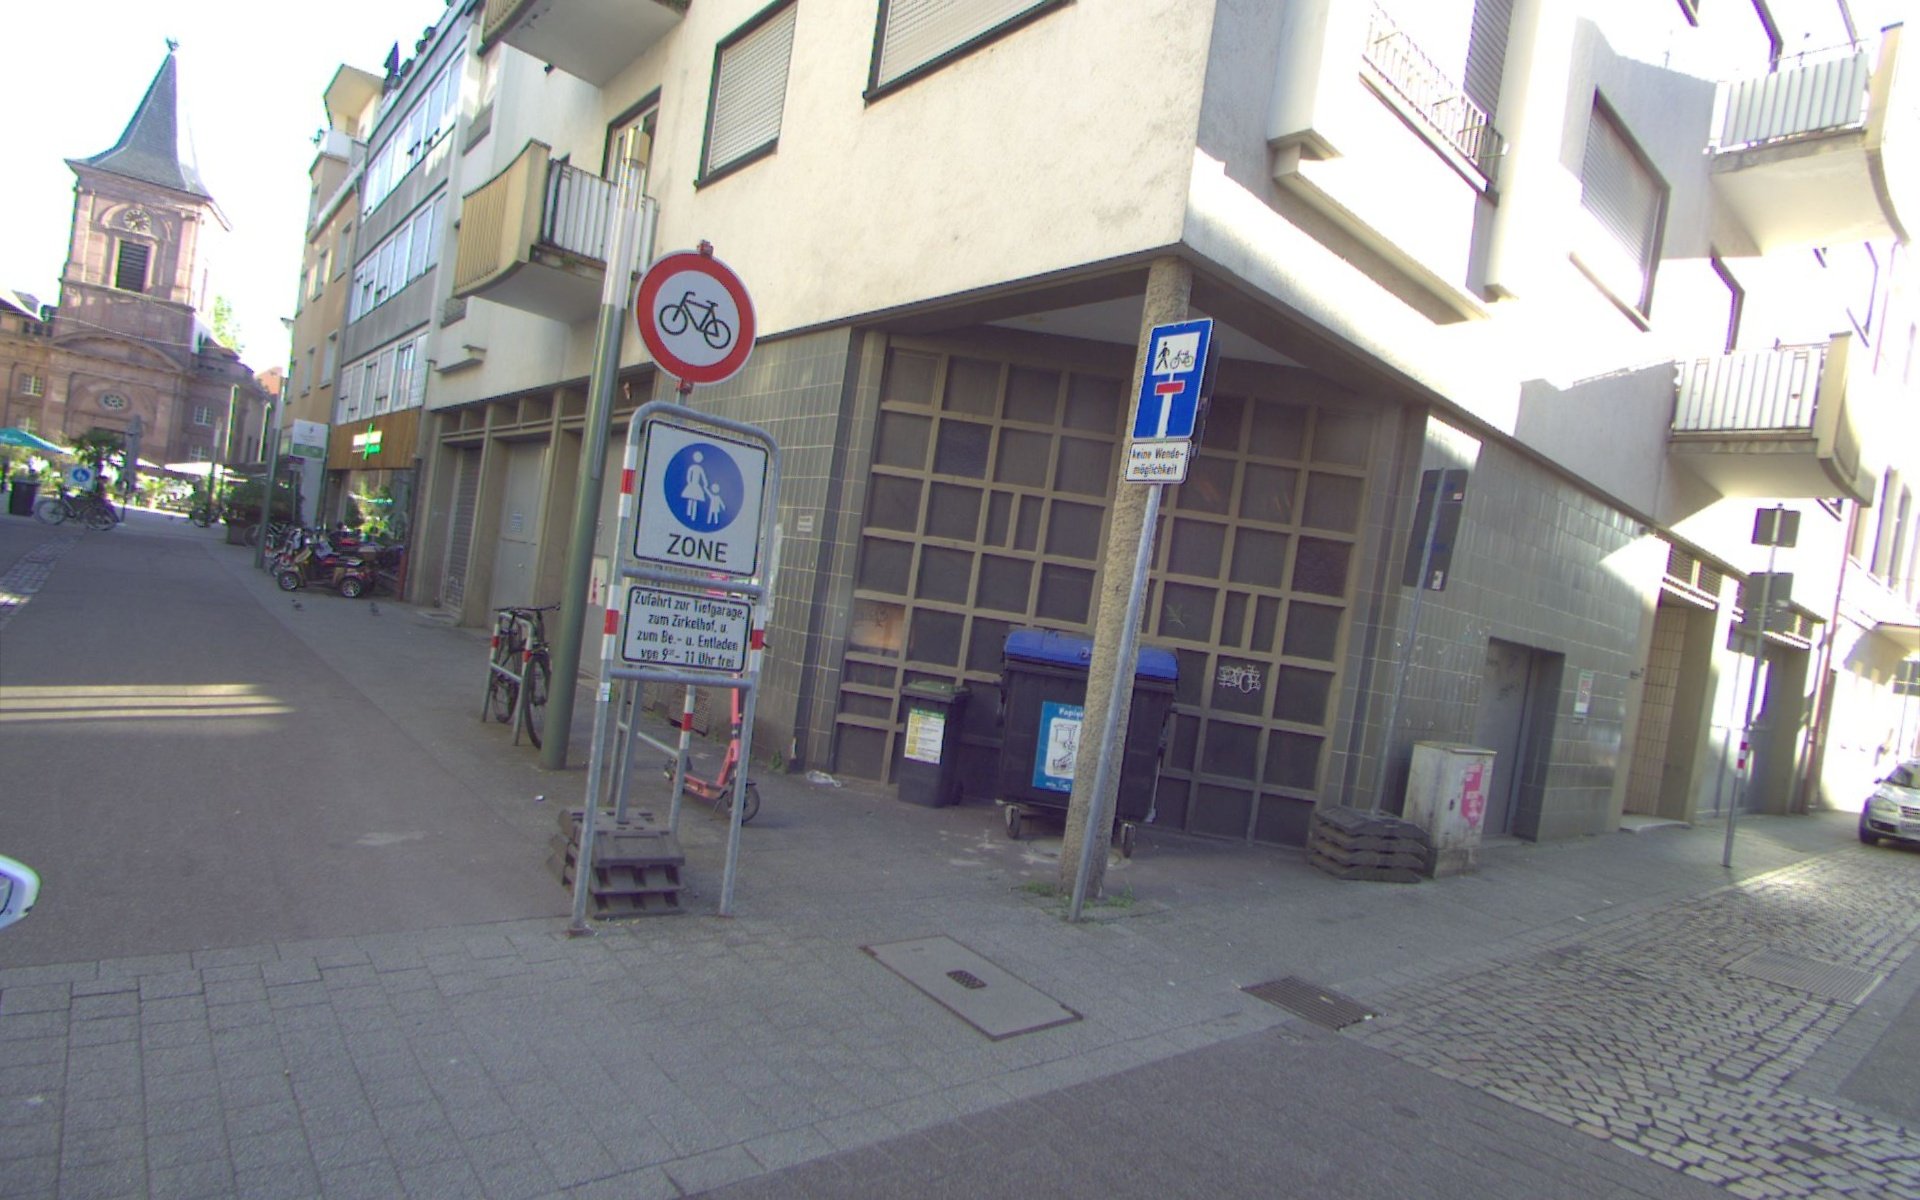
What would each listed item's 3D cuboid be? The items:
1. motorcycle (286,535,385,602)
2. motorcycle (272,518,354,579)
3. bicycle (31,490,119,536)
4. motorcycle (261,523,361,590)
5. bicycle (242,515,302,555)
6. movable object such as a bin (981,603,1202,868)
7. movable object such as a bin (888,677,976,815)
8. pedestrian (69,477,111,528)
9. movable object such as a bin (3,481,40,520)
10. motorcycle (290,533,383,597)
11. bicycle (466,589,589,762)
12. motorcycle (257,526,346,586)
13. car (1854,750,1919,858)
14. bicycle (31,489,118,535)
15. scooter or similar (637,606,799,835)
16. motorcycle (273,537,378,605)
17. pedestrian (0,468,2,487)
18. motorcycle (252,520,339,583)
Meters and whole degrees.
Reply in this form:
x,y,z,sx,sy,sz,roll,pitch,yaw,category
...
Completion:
x,y,z,sx,sy,sz,roll,pitch,yaw,category
-12.209,-0.605,19.716,1.501,1.089,0.410,8,1,-23,motorcycle
-15.155,-1.200,23.596,1.470,1.196,0.409,8,1,-26,motorcycle
-25.677,-2.527,29.212,1.819,1.017,0.376,9,0,-44,bicycle
-13.719,-0.912,21.318,1.608,1.189,0.478,8,1,-23,motorcycle
-21.841,-2.056,31.954,1.454,1.017,0.568,8,0,-34,bicycle
0.926,0.914,7.370,1.267,1.609,1.155,8,2,4,movable object such as a bin
-0.204,1.108,7.772,0.531,0.935,0.513,8,1,2,movable object such as a bin
-28.328,-3.169,32.764,0.880,1.482,0.722,8,1,-40,pedestrian
-28.734,-3.045,30.804,0.719,1.088,0.369,7,1,-42,movable object such as a bin
-12.716,-0.714,20.550,1.469,1.089,0.410,8,1,-23,motorcycle
-3.503,0.556,8.068,0.444,1.153,1.694,8,-1,-35,bicycle
-14.321,-0.953,21.900,1.469,1.089,0.410,8,1,-23,motorcycle
15.937,3.339,16.161,3.786,1.487,1.751,9,-2,-40,car
-25.945,-2.564,29.504,1.819,1.017,0.376,9,0,-44,bicycle
-1.608,0.738,6.562,0.306,1.268,1.223,7,0,-44,scooter or similar
-11.966,-0.541,19.007,1.548,1.054,0.370,8,1,-23,motorcycle
-46.132,-5.740,47.799,0.696,1.233,0.712,8,1,-35,pedestrian
-14.928,-1.092,22.628,1.470,1.196,0.409,8,1,-26,motorcycle
